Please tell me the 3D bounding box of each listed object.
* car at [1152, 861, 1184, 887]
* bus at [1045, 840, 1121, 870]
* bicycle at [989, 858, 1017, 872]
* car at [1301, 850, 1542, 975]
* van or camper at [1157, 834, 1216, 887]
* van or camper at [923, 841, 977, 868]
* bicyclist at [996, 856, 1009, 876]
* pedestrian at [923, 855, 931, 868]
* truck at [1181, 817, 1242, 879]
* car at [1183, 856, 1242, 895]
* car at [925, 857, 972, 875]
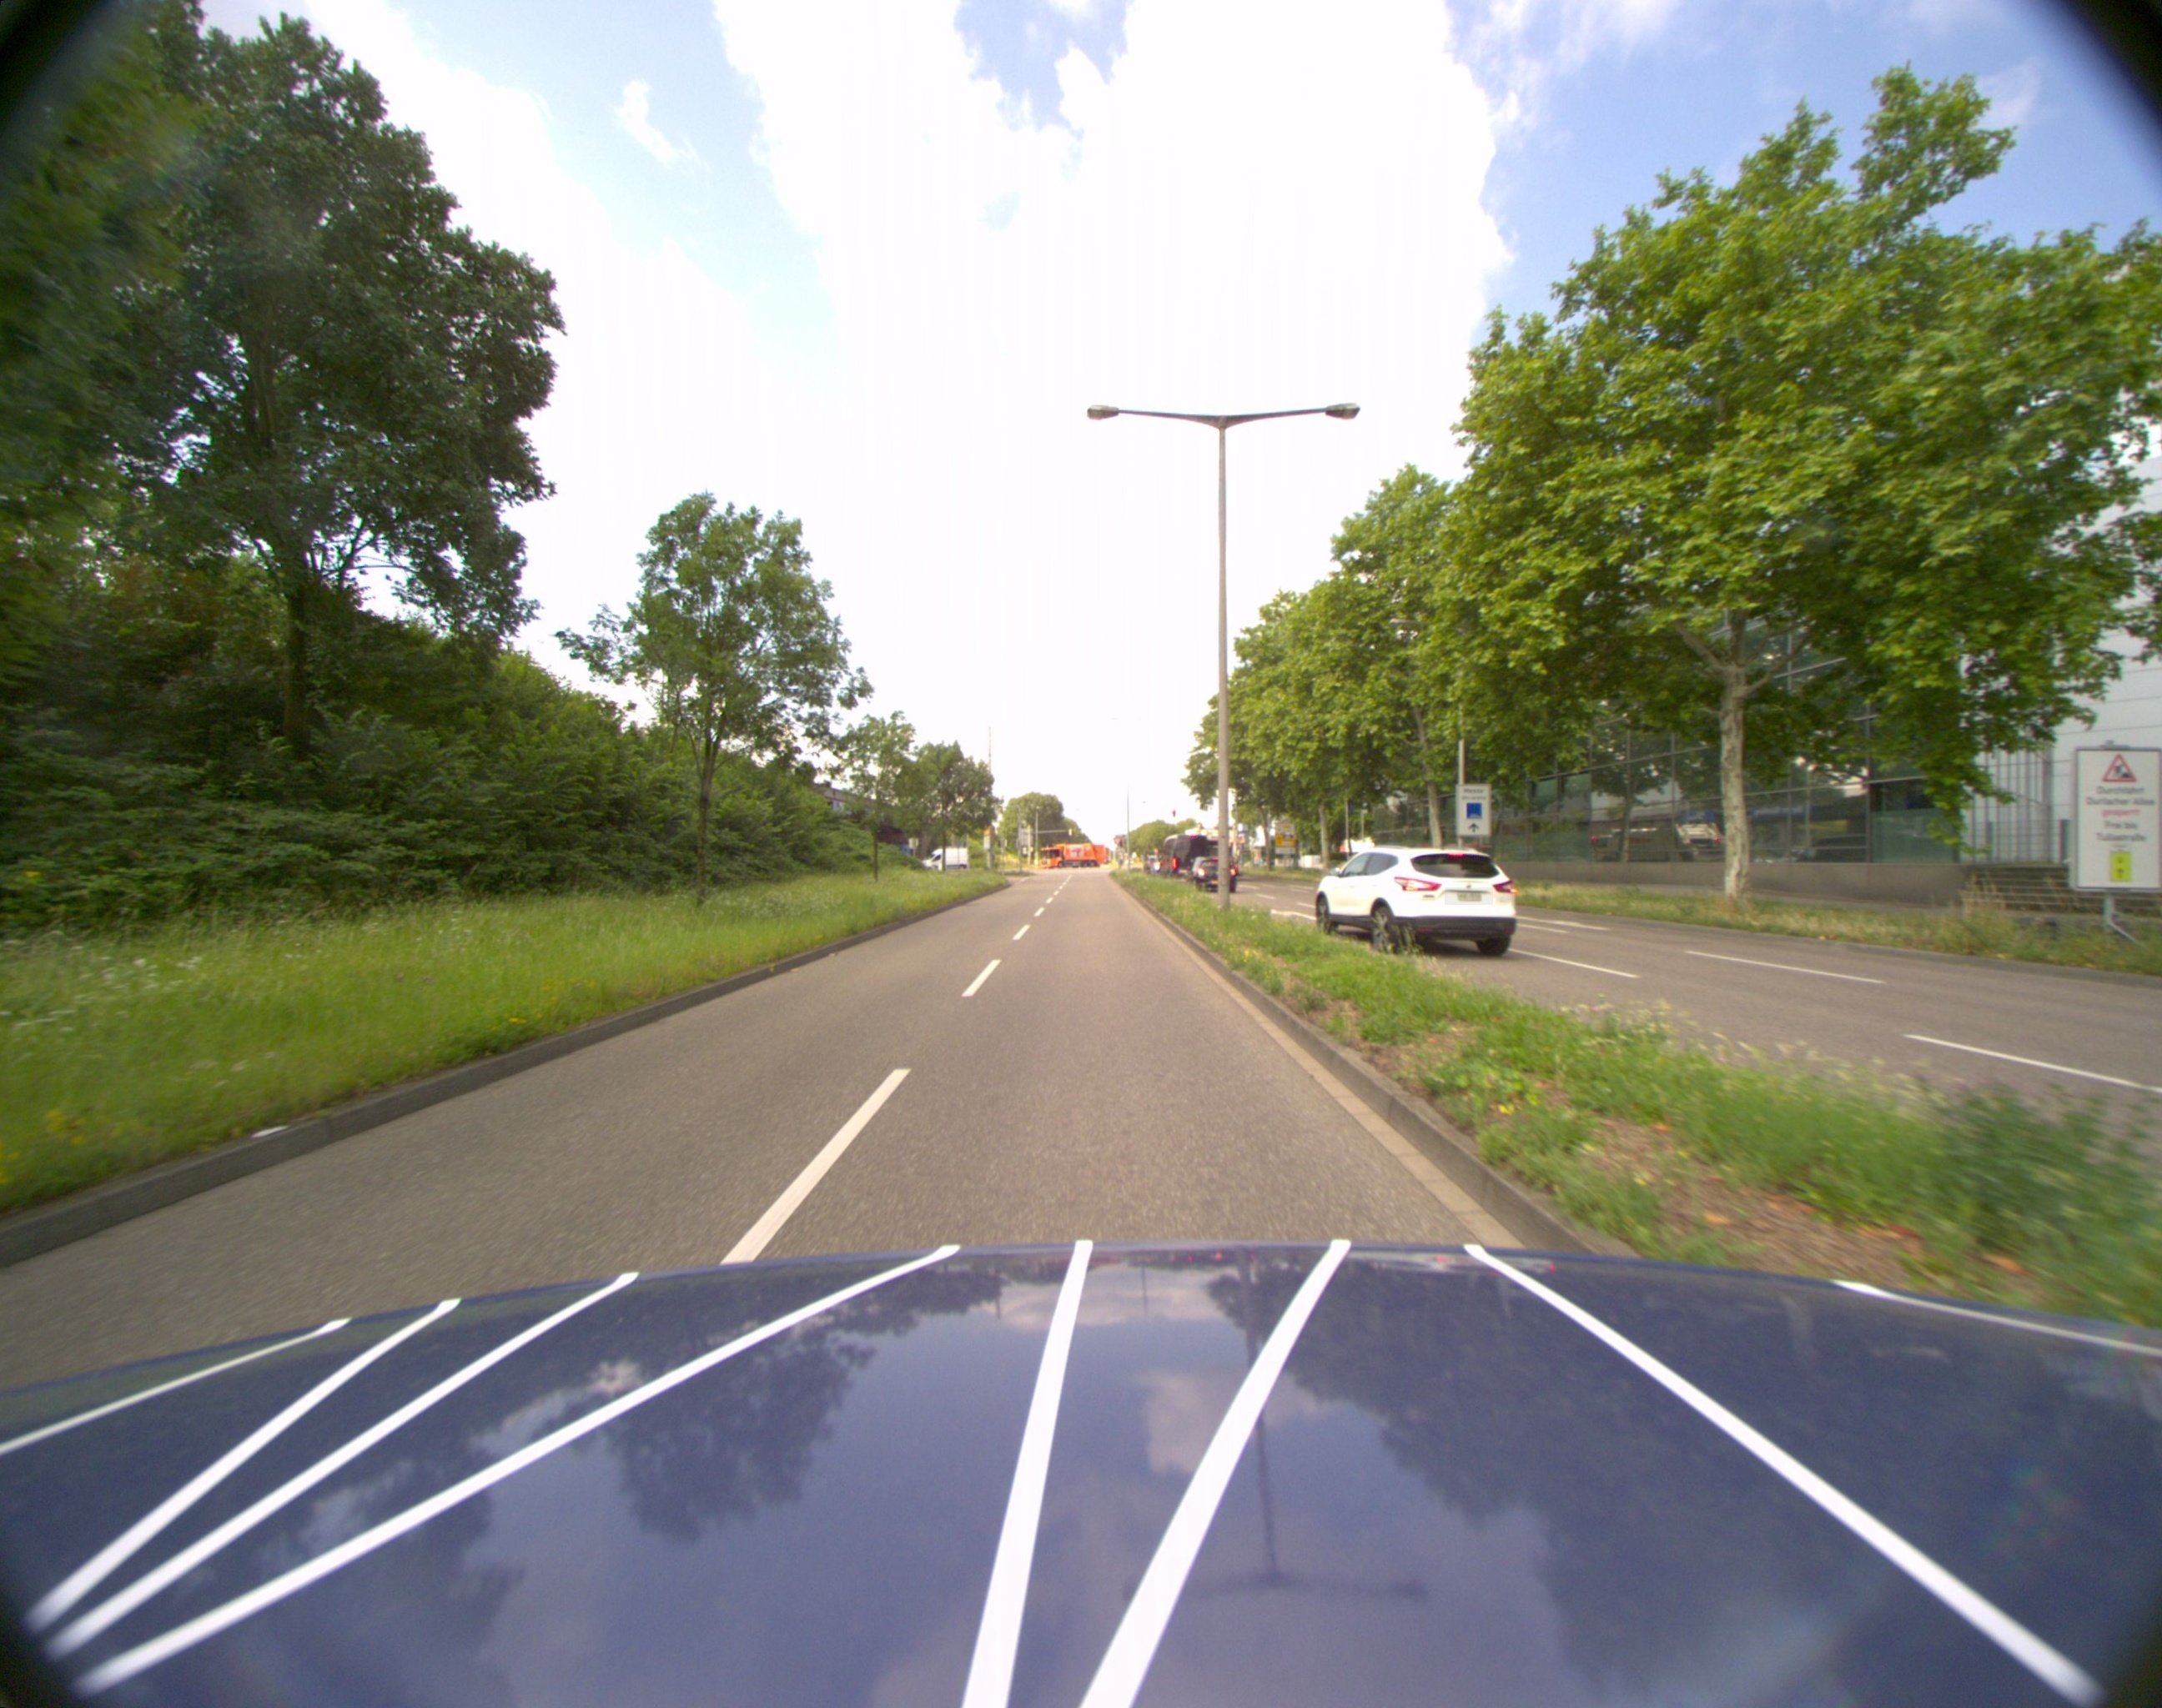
[{"bbox_3d":[6.023,1.362,53.001,1.749,1.544,4.233,1,1,1],"label":"car"},{"bbox_3d":[0.325,0.071,102.767,10.410,3.447,2.739,-4,3,-35],"label":"bus"},{"bbox_3d":[-7.082,0.976,69.070,2.321,1.088,0.843,-3,5,-27],"label":"bicycle"},{"bbox_3d":[5.164,0.775,12.281,1.819,1.630,4.350,1,0,-1],"label":"car"},{"bbox_3d":[5.681,0.296,41.807,2.110,2.644,6.716,0,1,-1],"label":"van or camper"},{"bbox_3d":[-15.541,-0.031,90.315,5.975,2.771,2.158,-4,5,-36],"label":"van or camper"},{"bbox_3d":[-7.123,1.096,69.046,0.824,1.670,0.843,-3,5,-27],"label":"bicyclist"},{"bbox_3d":[-19.707,0.941,97.339,0.607,1.642,0.693,2,5,39],"label":"pedestrian"},{"bbox_3d":[8.912,-0.357,52.973,2.656,3.865,10.160,1,0,1],"label":"truck"},{"bbox_3d":[5.454,0.867,31.943,1.698,1.456,3.940,0,1,-1],"label":"car"},{"bbox_3d":[-12.678,1.127,72.781,4.007,1.469,1.703,-2,4,-36],"label":"car"}]
